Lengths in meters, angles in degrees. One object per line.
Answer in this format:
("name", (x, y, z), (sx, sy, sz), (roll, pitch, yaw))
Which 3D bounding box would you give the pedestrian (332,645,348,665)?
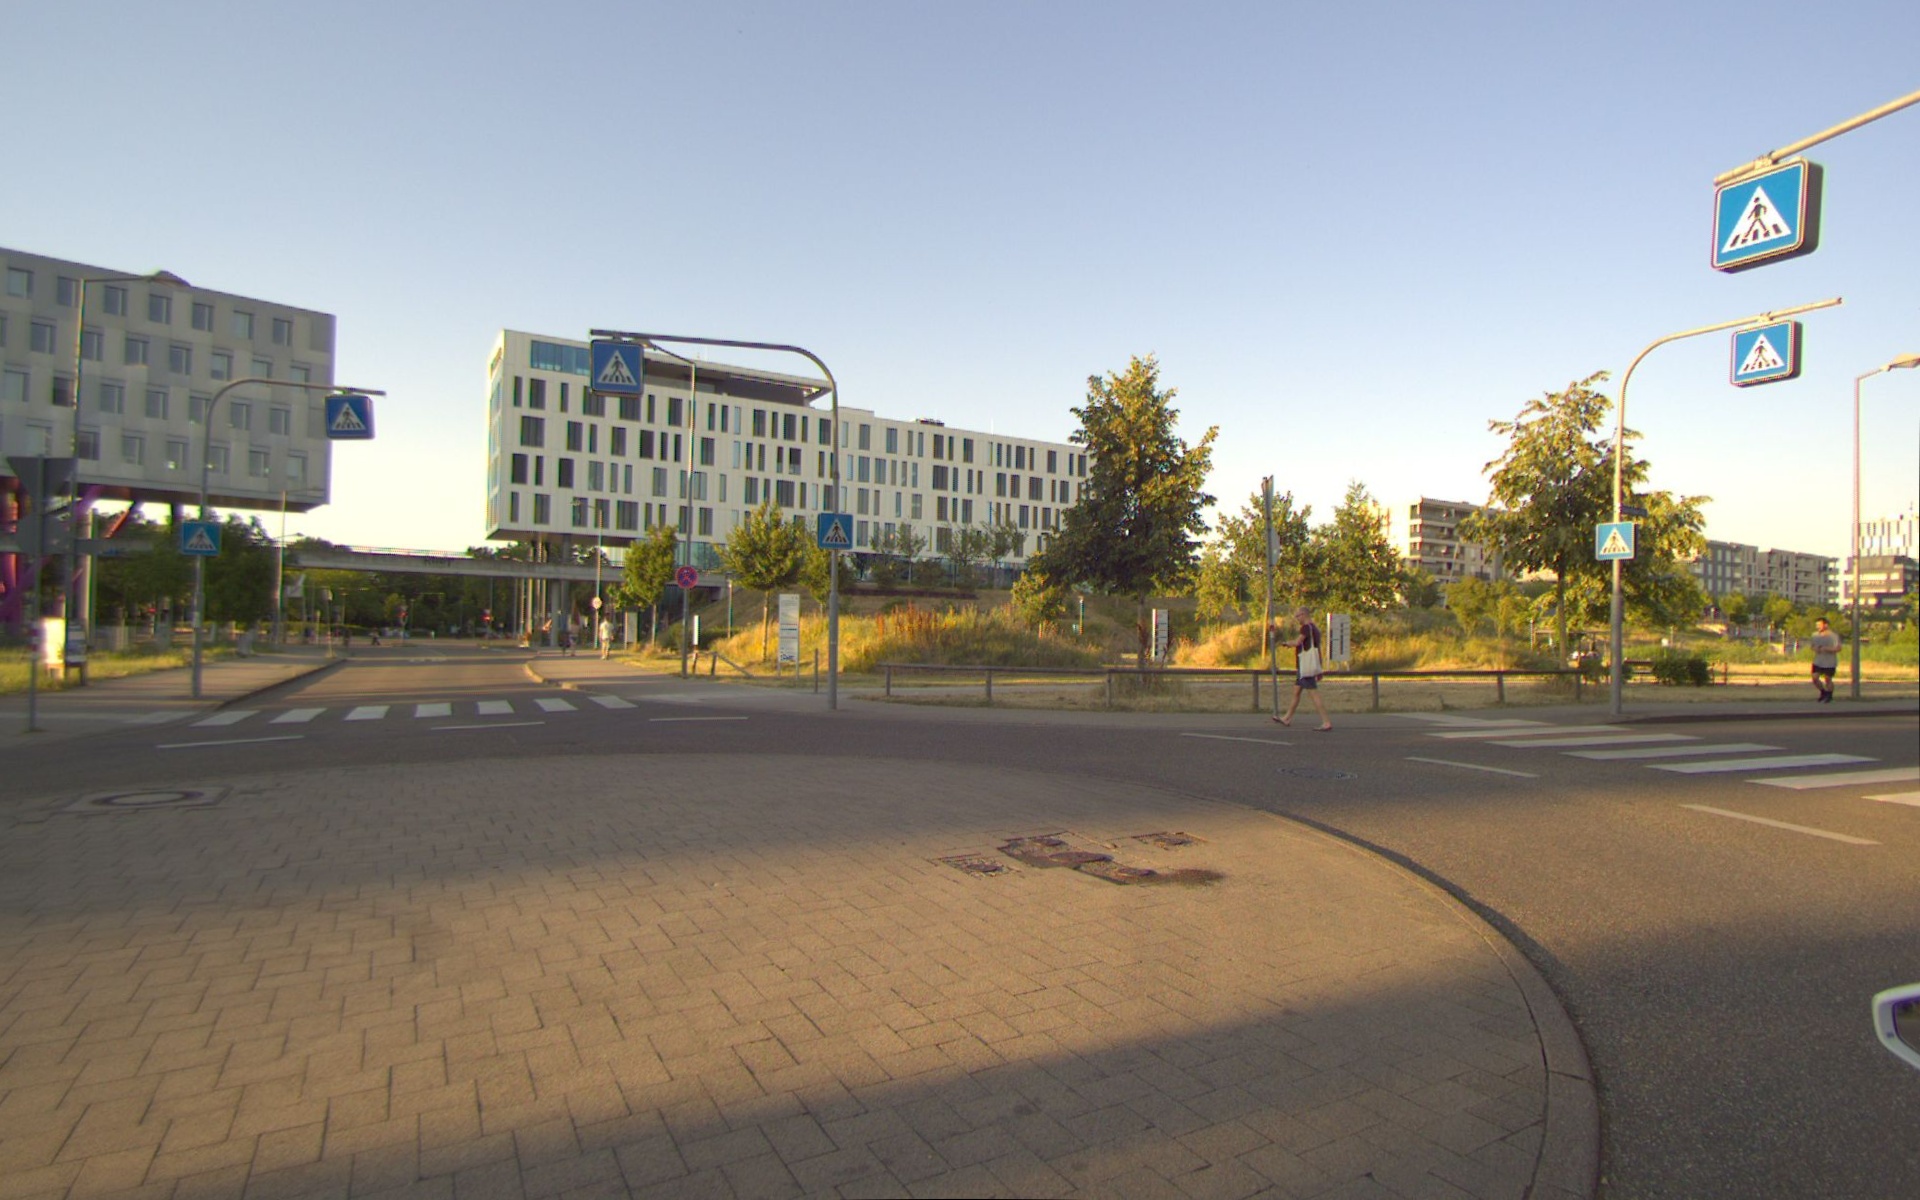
("pedestrian", (-59.274, 5.223, 96.012), (1.050, 1.858, 0.884), (2, -1, -43))

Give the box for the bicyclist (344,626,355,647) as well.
("bicyclist", (-50.099, 2.989, 82.463), (0.608, 1.684, 1.030), (2, -1, -25))

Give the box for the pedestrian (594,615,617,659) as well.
("pedestrian", (-14.789, 1.535, 41.930), (0.822, 1.790, 0.813), (2, -1, -23))

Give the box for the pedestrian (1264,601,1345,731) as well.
("pedestrian", (4.968, 0.936, 14.500), (0.725, 1.808, 0.796), (2, -1, -27))

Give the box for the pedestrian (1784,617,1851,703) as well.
("pedestrian", (17.957, 1.244, 21.040), (0.790, 1.752, 0.764), (2, -1, -21))

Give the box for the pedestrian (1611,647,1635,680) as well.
("pedestrian", (21.116, 2.033, 31.990), (0.476, 1.018, 0.496), (2, -1, -30))

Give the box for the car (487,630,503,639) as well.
("car", (-84.548, 6.268, 182.740), (1.473, 1.627, 3.402), (2, -1, -3))

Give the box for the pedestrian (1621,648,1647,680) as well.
("pedestrian", (21.720, 2.059, 32.373), (0.564, 1.018, 0.496), (2, -1, -30))

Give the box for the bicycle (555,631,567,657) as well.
("bicycle", (-19.231, 2.111, 48.449), (0.445, 1.184, 1.930), (2, -1, -23))

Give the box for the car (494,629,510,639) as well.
("car", (-85.022, 6.314, 186.390), (1.473, 1.627, 3.402), (2, -1, -3))

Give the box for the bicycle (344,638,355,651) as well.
("bicycle", (-50.095, 3.642, 82.428), (0.533, 1.057, 1.913), (2, -1, -25))

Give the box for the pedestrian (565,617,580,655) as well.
("pedestrian", (-18.786, 1.745, 48.686), (0.588, 1.825, 0.813), (2, -1, -23))
